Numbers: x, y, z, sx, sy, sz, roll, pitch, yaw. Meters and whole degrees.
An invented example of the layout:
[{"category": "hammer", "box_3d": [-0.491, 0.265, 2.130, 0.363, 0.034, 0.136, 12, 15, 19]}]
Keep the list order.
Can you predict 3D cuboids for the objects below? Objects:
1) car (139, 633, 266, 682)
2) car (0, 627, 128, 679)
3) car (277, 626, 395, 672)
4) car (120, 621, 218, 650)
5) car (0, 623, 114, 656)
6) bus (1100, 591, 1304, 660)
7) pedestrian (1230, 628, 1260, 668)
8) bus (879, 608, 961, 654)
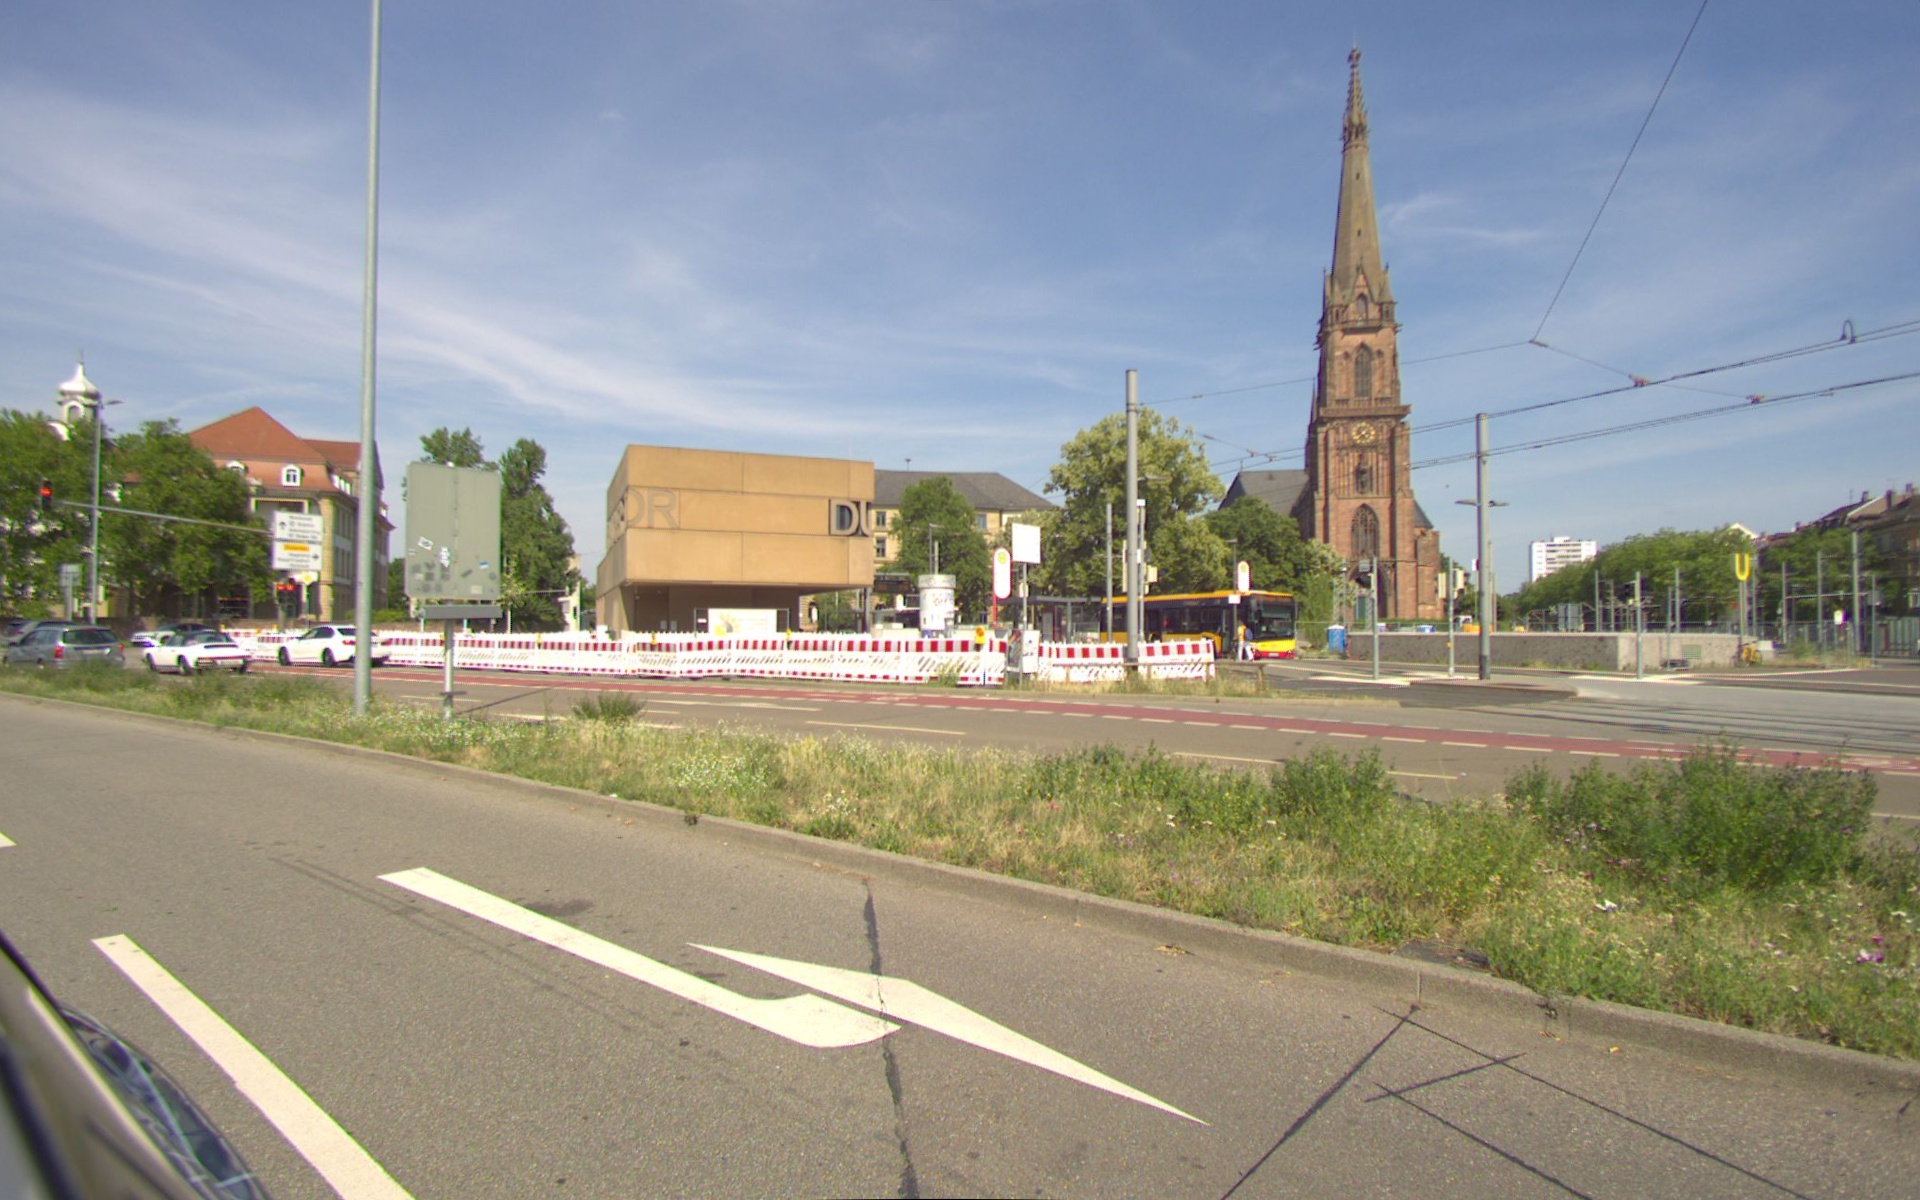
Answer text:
[{"category": "car", "box_3d": [-22.426, 1.657, 29.927, 3.984, 1.296, 1.583, -1, 0, 30]}, {"category": "car", "box_3d": [-24.696, 1.419, 27.802, 3.984, 1.296, 1.583, -1, 0, 30]}, {"category": "car", "box_3d": [-21.395, 1.635, 34.667, 3.984, 1.431, 1.785, -1, 0, 30]}, {"category": "car", "box_3d": [-44.317, 1.951, 56.808, 1.743, 1.454, 4.092, -1, 0, 16]}, {"category": "car", "box_3d": [-42.081, 1.829, 46.878, 1.828, 1.447, 4.054, -1, -2, 31]}, {"category": "bus", "box_3d": [10.495, 1.017, 45.988, 2.711, 2.703, 11.828, -1, 0, -22]}, {"category": "pedestrian", "box_3d": [10.320, 1.728, 36.656, 0.911, 1.377, 0.532, -1, 0, 41]}, {"category": "bus", "box_3d": [-3.339, 2.442, 79.574, 2.710, 3.348, 11.827, 1, -2, -22]}]
